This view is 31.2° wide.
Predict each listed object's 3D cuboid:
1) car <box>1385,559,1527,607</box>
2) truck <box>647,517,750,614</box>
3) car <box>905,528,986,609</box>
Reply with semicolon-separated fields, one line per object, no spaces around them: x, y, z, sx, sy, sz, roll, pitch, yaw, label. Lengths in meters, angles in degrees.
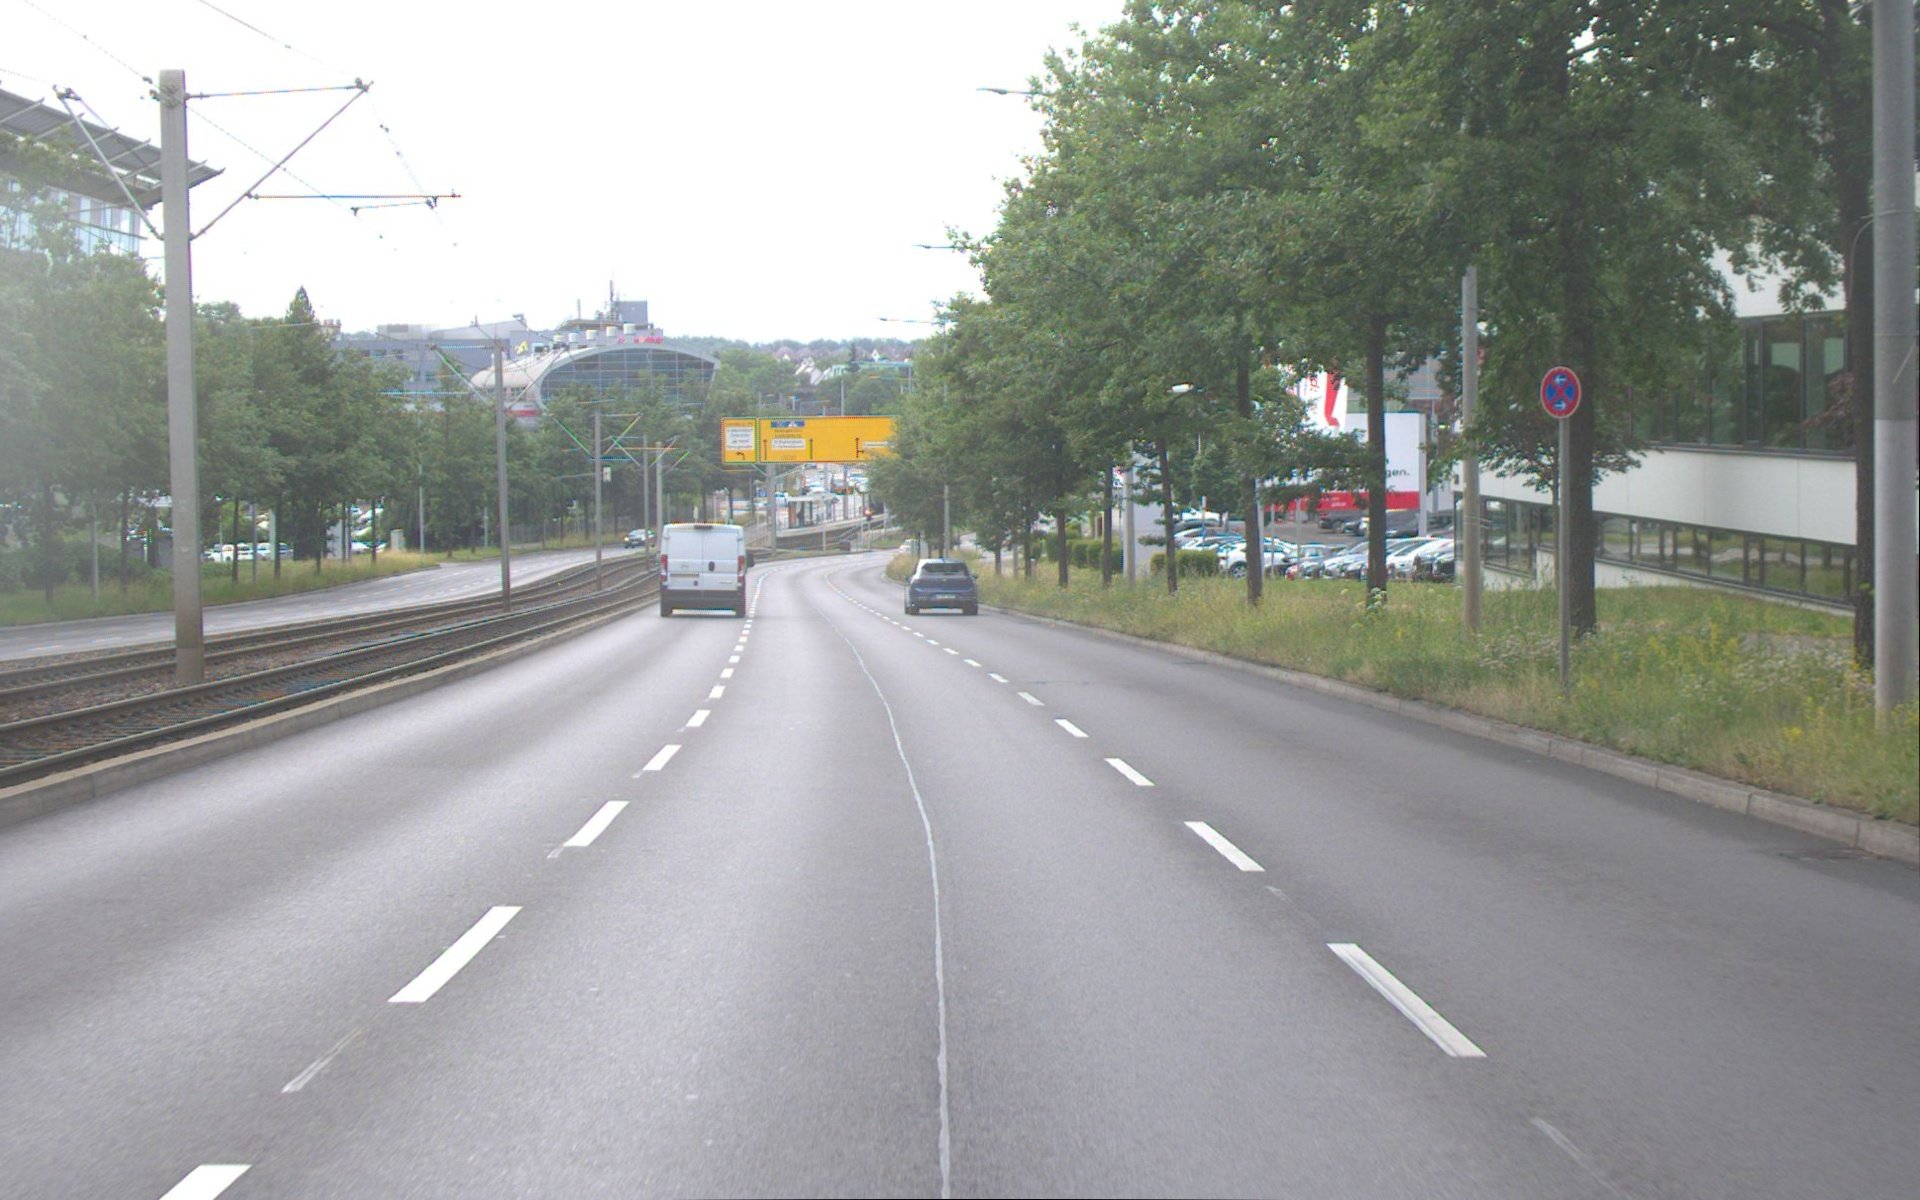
14.847;-0.523;103.044;3.987;1.349;2.000;1;1;2;car
-6.322;-0.849;83.685;2.360;2.254;5.306;1;1;-3;truck
-0.394;-0.827;89.013;1.993;2.007;3.935;1;1;-1;car
